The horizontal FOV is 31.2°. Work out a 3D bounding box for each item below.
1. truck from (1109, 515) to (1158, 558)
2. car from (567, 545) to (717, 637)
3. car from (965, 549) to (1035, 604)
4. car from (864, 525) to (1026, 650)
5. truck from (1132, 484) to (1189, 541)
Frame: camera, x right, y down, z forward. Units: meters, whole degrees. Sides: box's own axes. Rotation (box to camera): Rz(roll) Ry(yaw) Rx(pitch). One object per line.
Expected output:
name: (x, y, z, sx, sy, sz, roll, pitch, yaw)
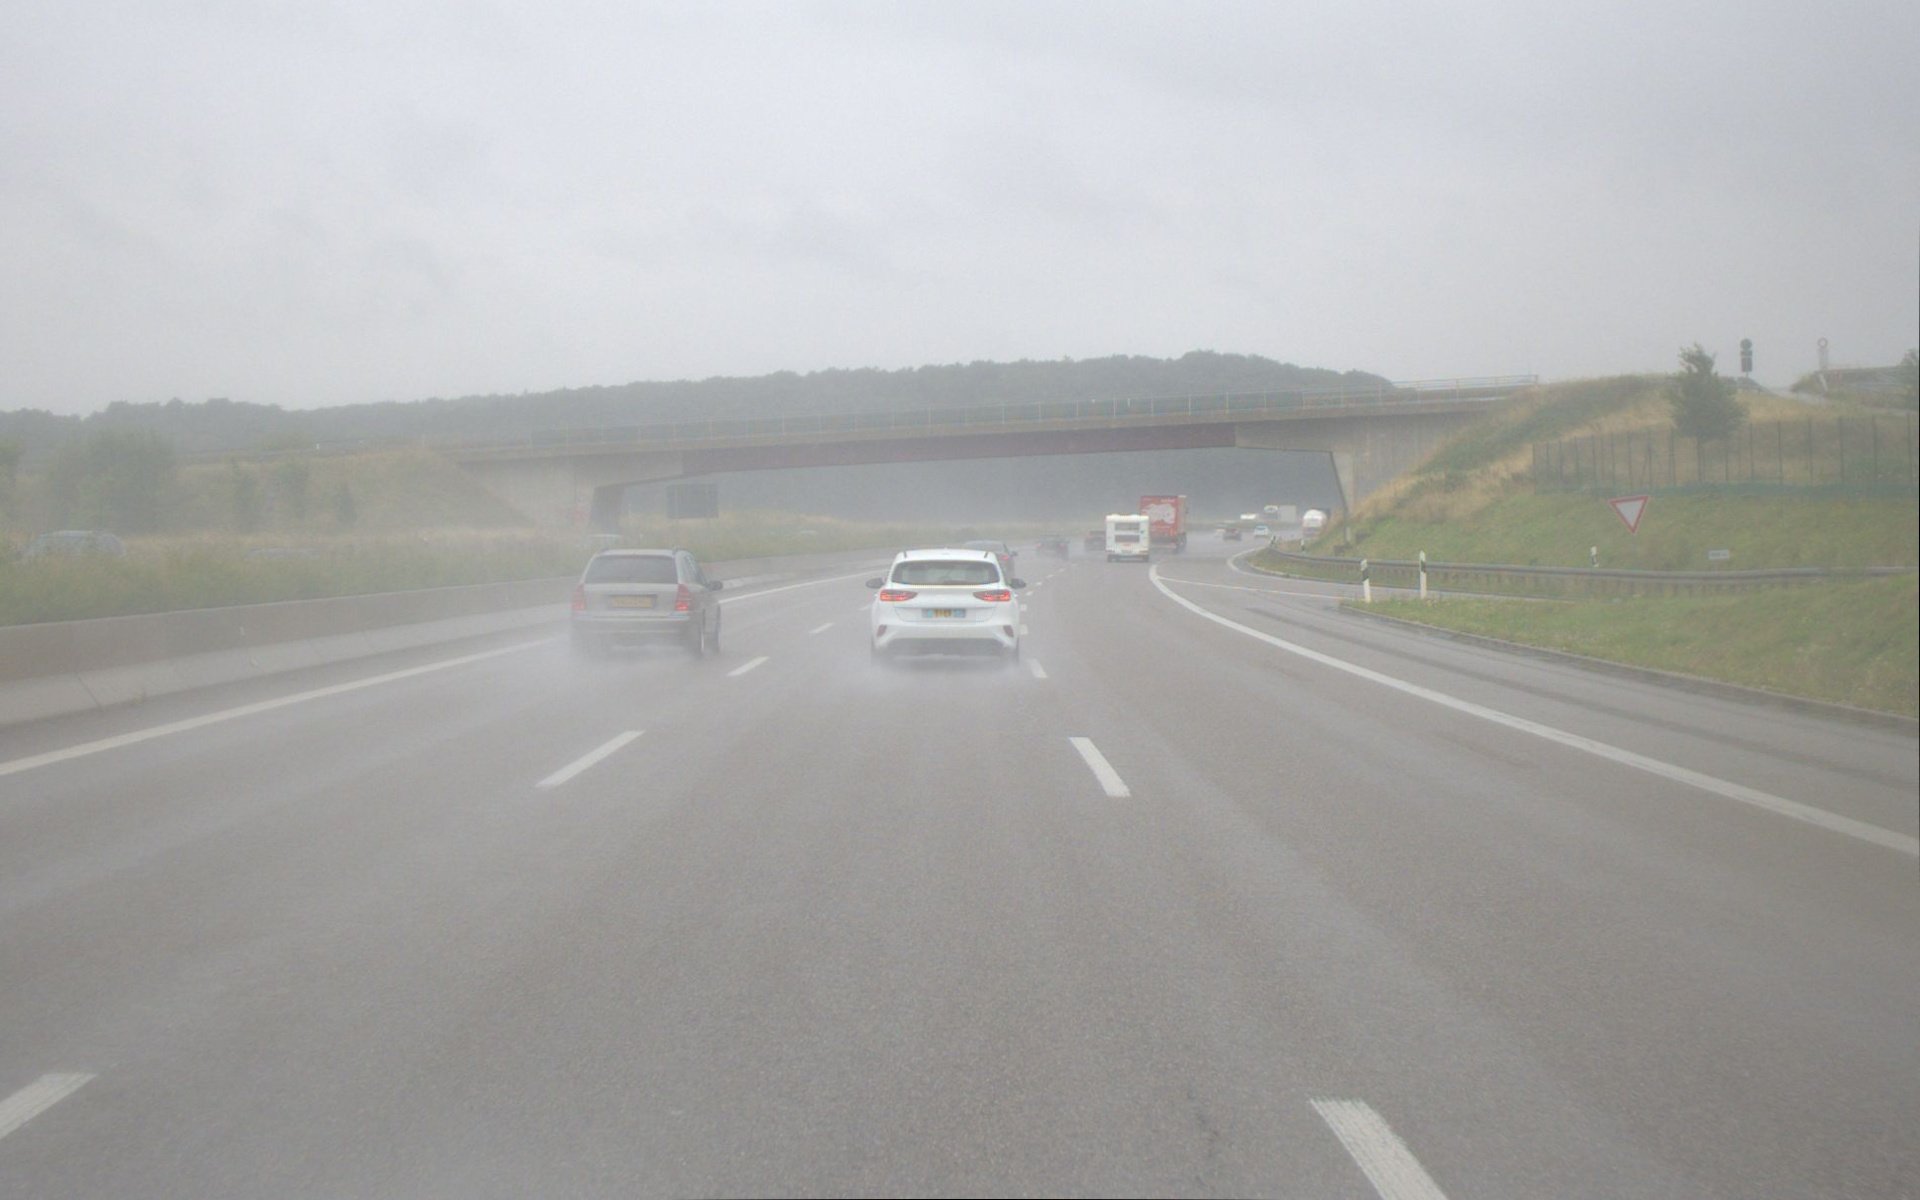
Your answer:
truck: (9.257, -3.369, 183.132, 2.408, 2.244, 4.692, 0, 1, 5)
car: (-4.228, -0.120, 46.215, 1.823, 1.152, 4.213, 1, 0, -3)
car: (1.261, -0.751, 106.101, 1.994, 1.612, 4.000, 0, 1, 3)
car: (-0.231, -0.164, 42.560, 1.867, 1.458, 4.000, 0, 1, -2)
truck: (13.760, -6.058, 237.214, 3.527, 3.730, 11.426, 1, 2, 2)
